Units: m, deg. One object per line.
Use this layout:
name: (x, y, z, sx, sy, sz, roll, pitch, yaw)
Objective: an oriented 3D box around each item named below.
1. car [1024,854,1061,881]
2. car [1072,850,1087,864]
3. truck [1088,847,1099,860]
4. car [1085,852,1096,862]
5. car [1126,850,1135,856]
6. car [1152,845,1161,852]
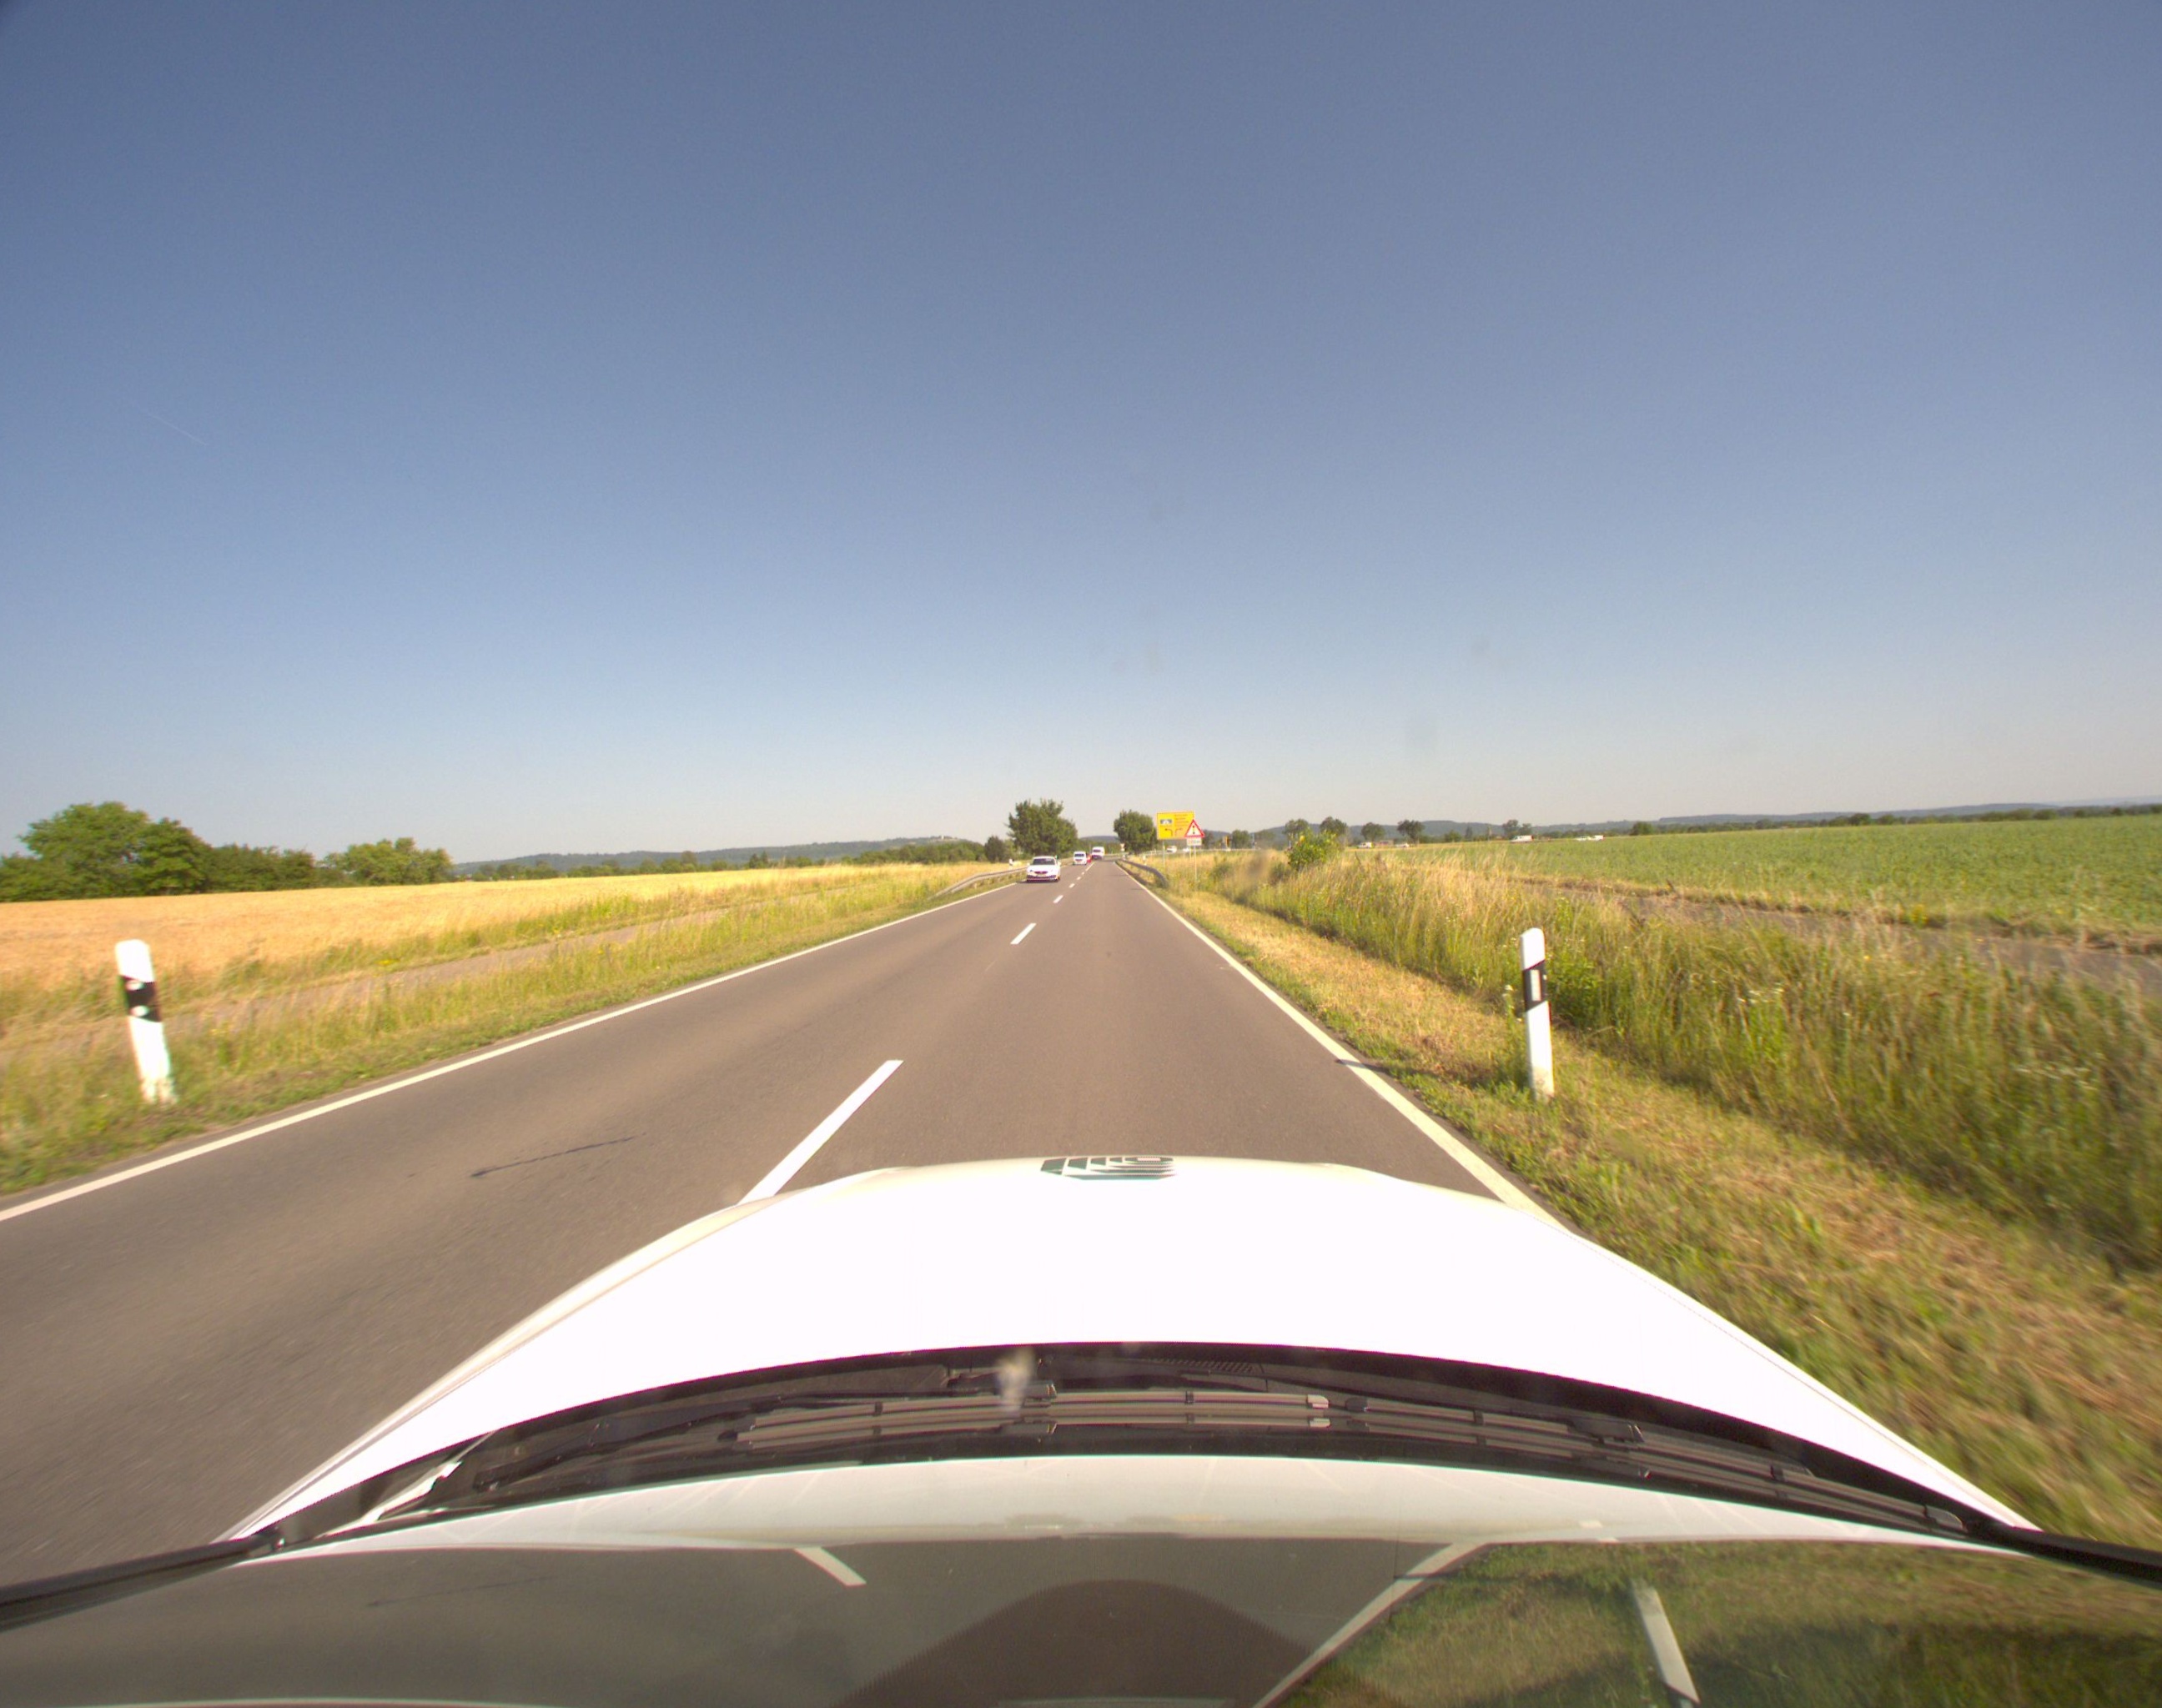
car: (-2.137, 0.758, 46.390, 1.720, 1.437, 4.517, -1, 0, 1)
car: (-0.237, 0.431, 110.163, 1.829, 1.787, 4.436, -2, 0, 2)
truck: (2.570, -0.124, 163.750, 1.986, 2.520, 6.246, -1, 0, 2)
car: (1.577, 0.501, 133.196, 1.601, 1.488, 3.781, -1, 0, 2)
car: (12.355, -0.185, 203.159, 1.632, 1.471, 3.820, -1, 0, 13)
car: (21.435, -1.594, 231.528, 1.979, 1.884, 4.609, 0, 0, 14)
